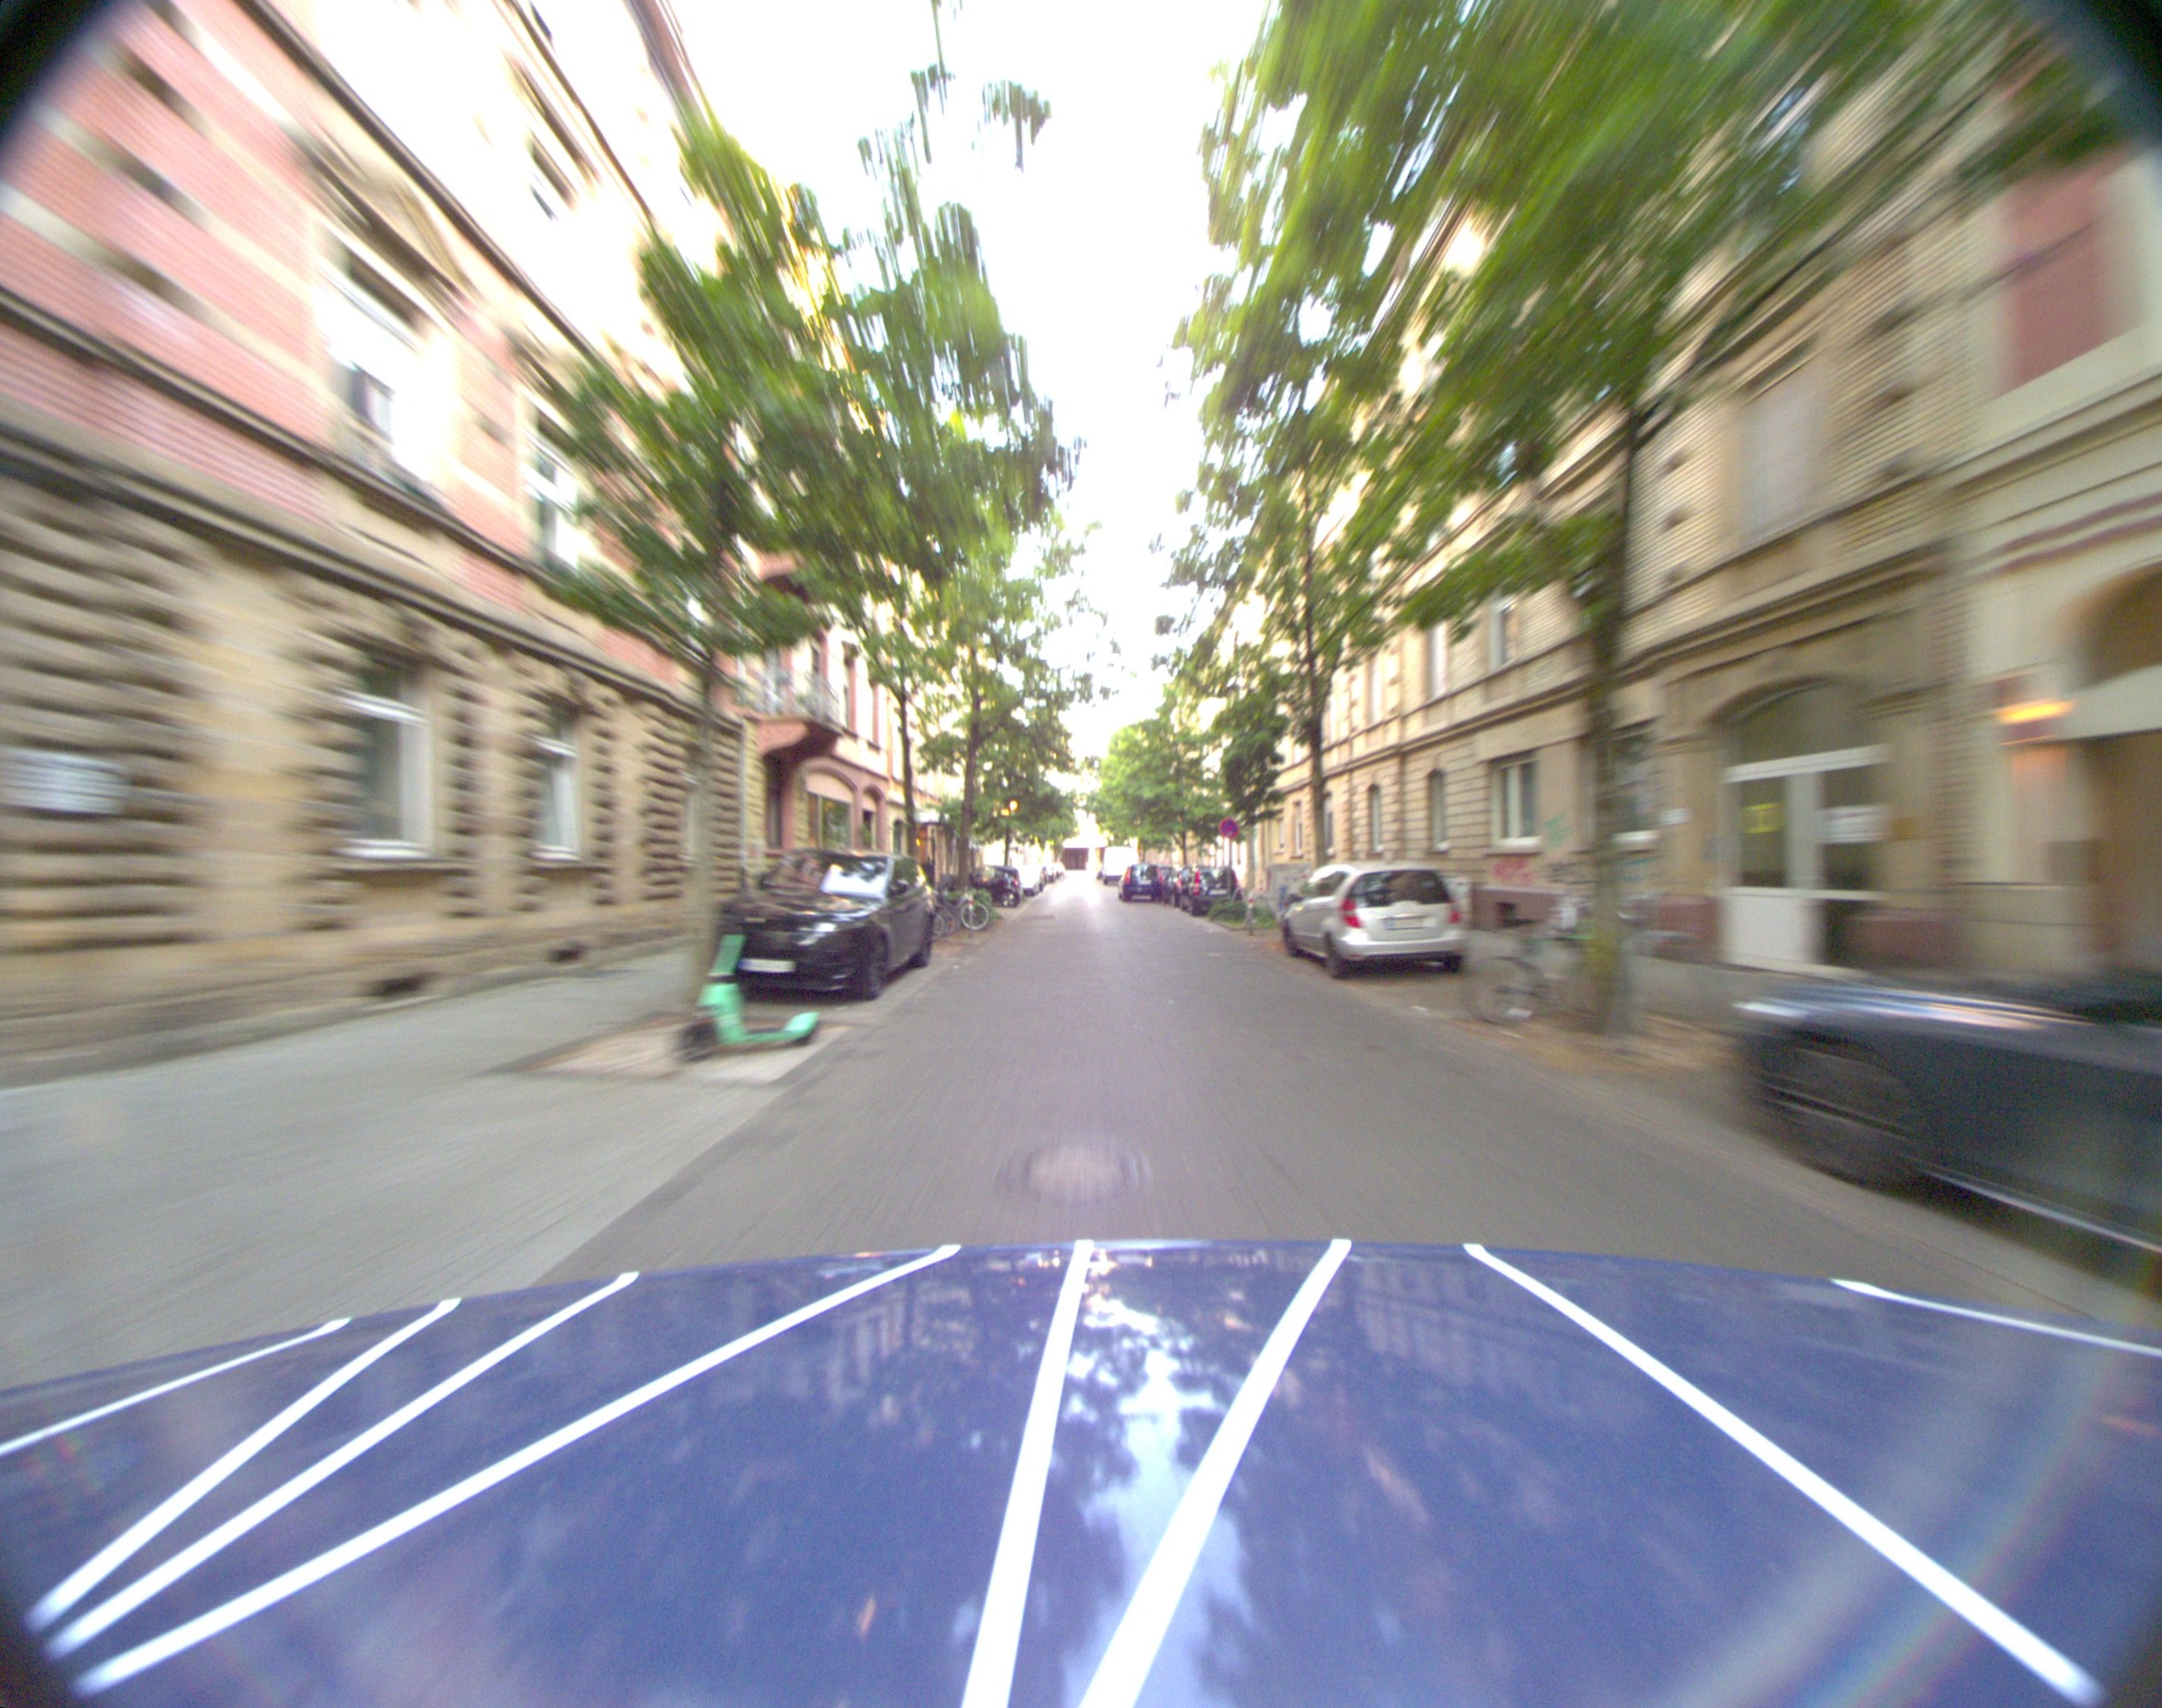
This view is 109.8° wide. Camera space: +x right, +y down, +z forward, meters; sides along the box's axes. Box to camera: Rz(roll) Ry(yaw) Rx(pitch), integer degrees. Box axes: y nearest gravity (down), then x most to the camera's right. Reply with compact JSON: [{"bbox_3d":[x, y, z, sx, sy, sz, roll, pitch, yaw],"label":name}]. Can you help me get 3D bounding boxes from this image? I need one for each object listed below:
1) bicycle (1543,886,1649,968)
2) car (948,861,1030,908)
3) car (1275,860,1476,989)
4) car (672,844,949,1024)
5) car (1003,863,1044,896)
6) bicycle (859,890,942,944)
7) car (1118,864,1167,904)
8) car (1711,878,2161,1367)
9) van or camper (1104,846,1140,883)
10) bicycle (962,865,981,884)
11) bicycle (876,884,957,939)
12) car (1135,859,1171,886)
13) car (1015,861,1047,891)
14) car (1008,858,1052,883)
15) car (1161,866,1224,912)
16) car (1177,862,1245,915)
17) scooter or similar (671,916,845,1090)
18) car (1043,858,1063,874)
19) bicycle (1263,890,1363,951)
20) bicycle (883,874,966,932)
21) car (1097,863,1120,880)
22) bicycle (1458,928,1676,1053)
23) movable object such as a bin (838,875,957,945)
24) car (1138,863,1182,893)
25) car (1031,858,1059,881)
[{"bbox_3d":[7.750,1.061,11.518,0.462,1.083,1.630,-3,-1,1],"label":"bicycle"},{"bbox_3d":[-3.401,1.119,28.501,2.804,1.590,1.800,3,0,0],"label":"car"},{"bbox_3d":[4.278,0.926,11.709,1.680,1.598,3.862,-2,0,2],"label":"car"},{"bbox_3d":[-3.259,0.852,10.389,2.019,1.822,4.810,2,0,0],"label":"car"},{"bbox_3d":[-2.829,1.226,37.893,1.738,1.482,4.104,0,0,0],"label":"car"},{"bbox_3d":[-3.940,1.373,16.659,1.662,1.137,0.582,0,0,3],"label":"bicycle"},{"bbox_3d":[2.581,1.232,32.575,1.728,1.564,4.219,-1,0,0],"label":"car"},{"bbox_3d":[4.468,0.917,1.932,1.810,1.509,4.685,-2,0,0],"label":"car"},{"bbox_3d":[2.771,0.687,53.179,2.225,2.416,5.660,0,0,0],"label":"van or camper"},{"bbox_3d":[-6.163,1.147,42.856,0.688,1.030,1.950,2,0,1],"label":"bicycle"},{"bbox_3d":[-3.737,1.298,17.284,1.700,1.191,0.582,0,0,3],"label":"bicycle"},{"bbox_3d":[4.201,1.065,44.892,1.688,1.501,4.113,-1,0,0],"label":"car"},{"bbox_3d":[-2.745,1.215,42.268,1.595,1.551,3.122,-1,0,-2],"label":"car"},{"bbox_3d":[-3.326,1.068,49.824,2.721,1.564,1.526,1,0,0],"label":"car"},{"bbox_3d":[4.073,1.258,28.352,1.695,1.493,3.711,-2,0,-1],"label":"car"},{"bbox_3d":[4.105,1.047,24.423,1.523,1.493,3.561,-2,0,0],"label":"car"},{"bbox_3d":[-2.652,1.162,6.294,0.673,1.183,1.118,3,1,40],"label":"scooter or similar"},{"bbox_3d":[-2.753,1.200,75.250,1.835,1.530,4.123,0,0,0],"label":"car"},{"bbox_3d":[4.624,1.303,15.120,1.871,1.054,0.595,-2,1,-19],"label":"bicycle"},{"bbox_3d":[-3.702,1.157,18.100,1.766,1.286,0.802,2,0,0],"label":"bicycle"},{"bbox_3d":[2.494,1.548,69.423,1.665,1.448,4.282,0,0,-4],"label":"car"},{"bbox_3d":[4.479,1.254,7.054,1.688,0.997,0.430,-3,0,2],"label":"bicycle"},{"bbox_3d":[-3.793,1.138,15.788,2.221,1.297,0.771,3,0,3],"label":"movable object such as a bin"},{"bbox_3d":[4.126,1.210,40.144,1.771,1.454,4.258,-1,0,-1],"label":"car"},{"bbox_3d":[-2.746,1.148,58.402,1.944,1.621,4.453,-1,0,0],"label":"car"}]
